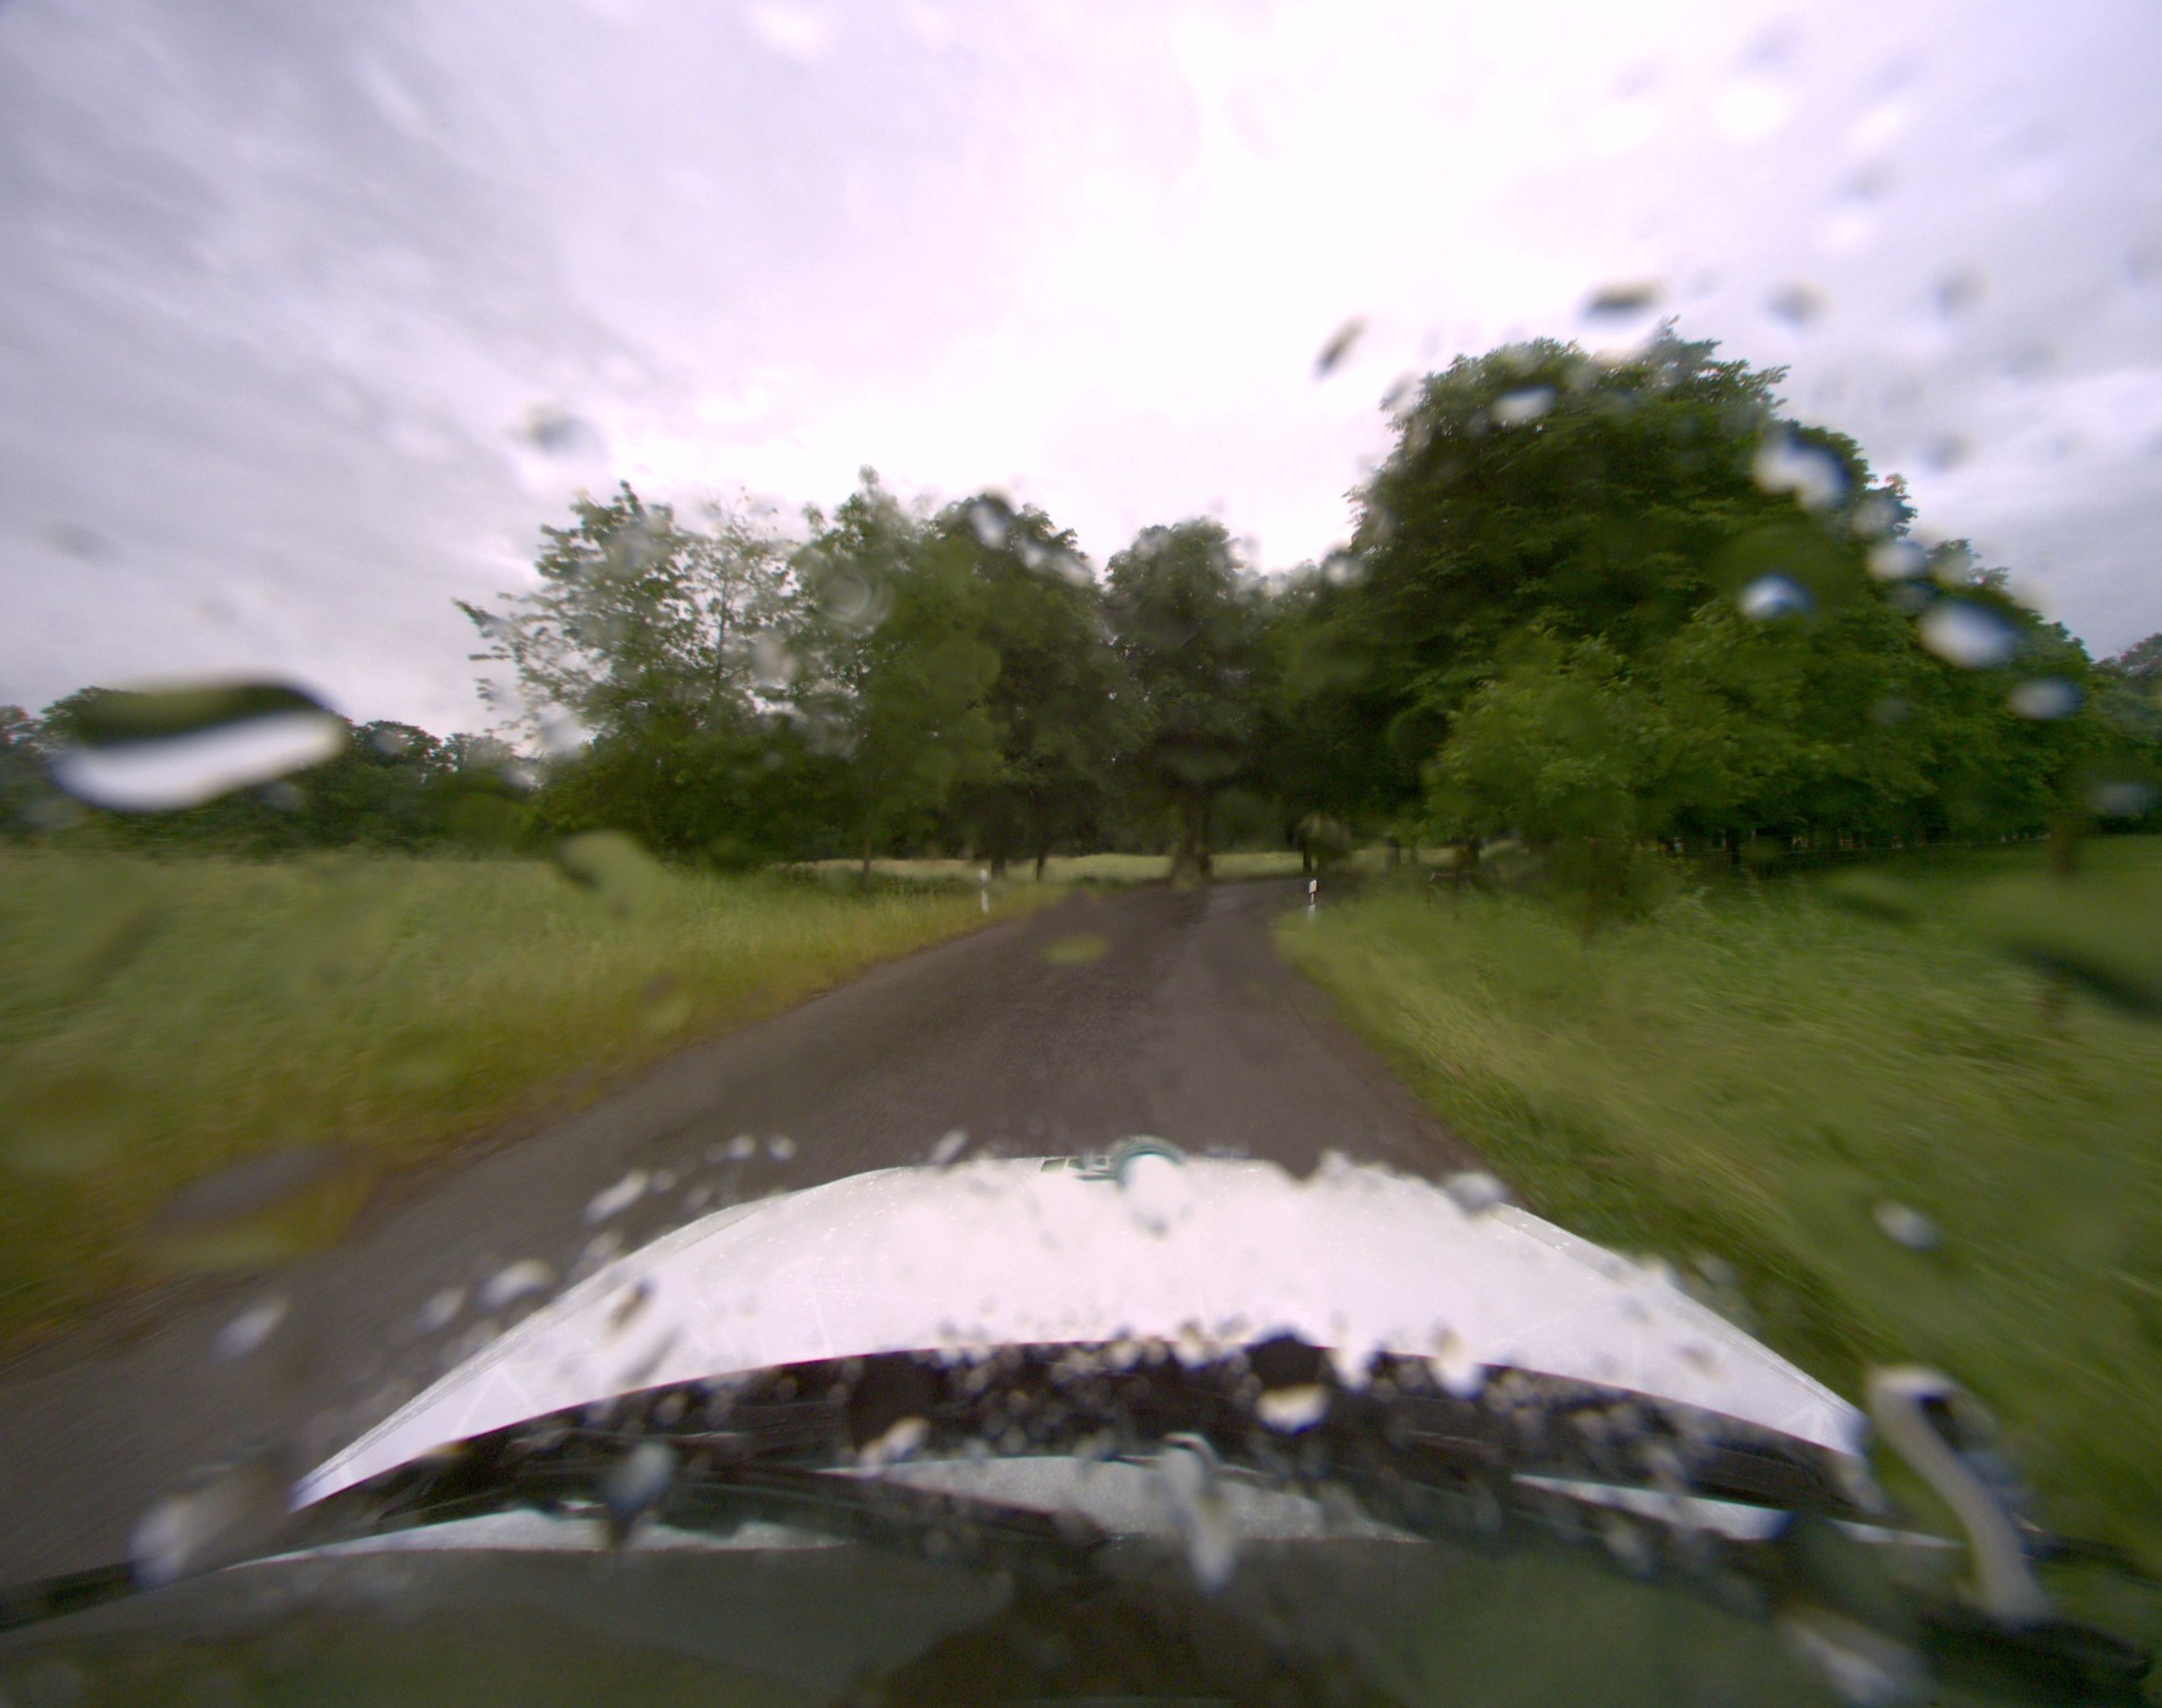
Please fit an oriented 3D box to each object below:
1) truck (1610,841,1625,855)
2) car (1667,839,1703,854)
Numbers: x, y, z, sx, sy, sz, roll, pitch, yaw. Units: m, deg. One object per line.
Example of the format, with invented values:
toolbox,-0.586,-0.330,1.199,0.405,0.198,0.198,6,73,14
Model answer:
truck,94.779,-1.072,143.907,1.851,2.443,3.370,-1,-1,40
car,104.400,-1.321,140.887,2.372,2.408,5.994,1,-1,6
